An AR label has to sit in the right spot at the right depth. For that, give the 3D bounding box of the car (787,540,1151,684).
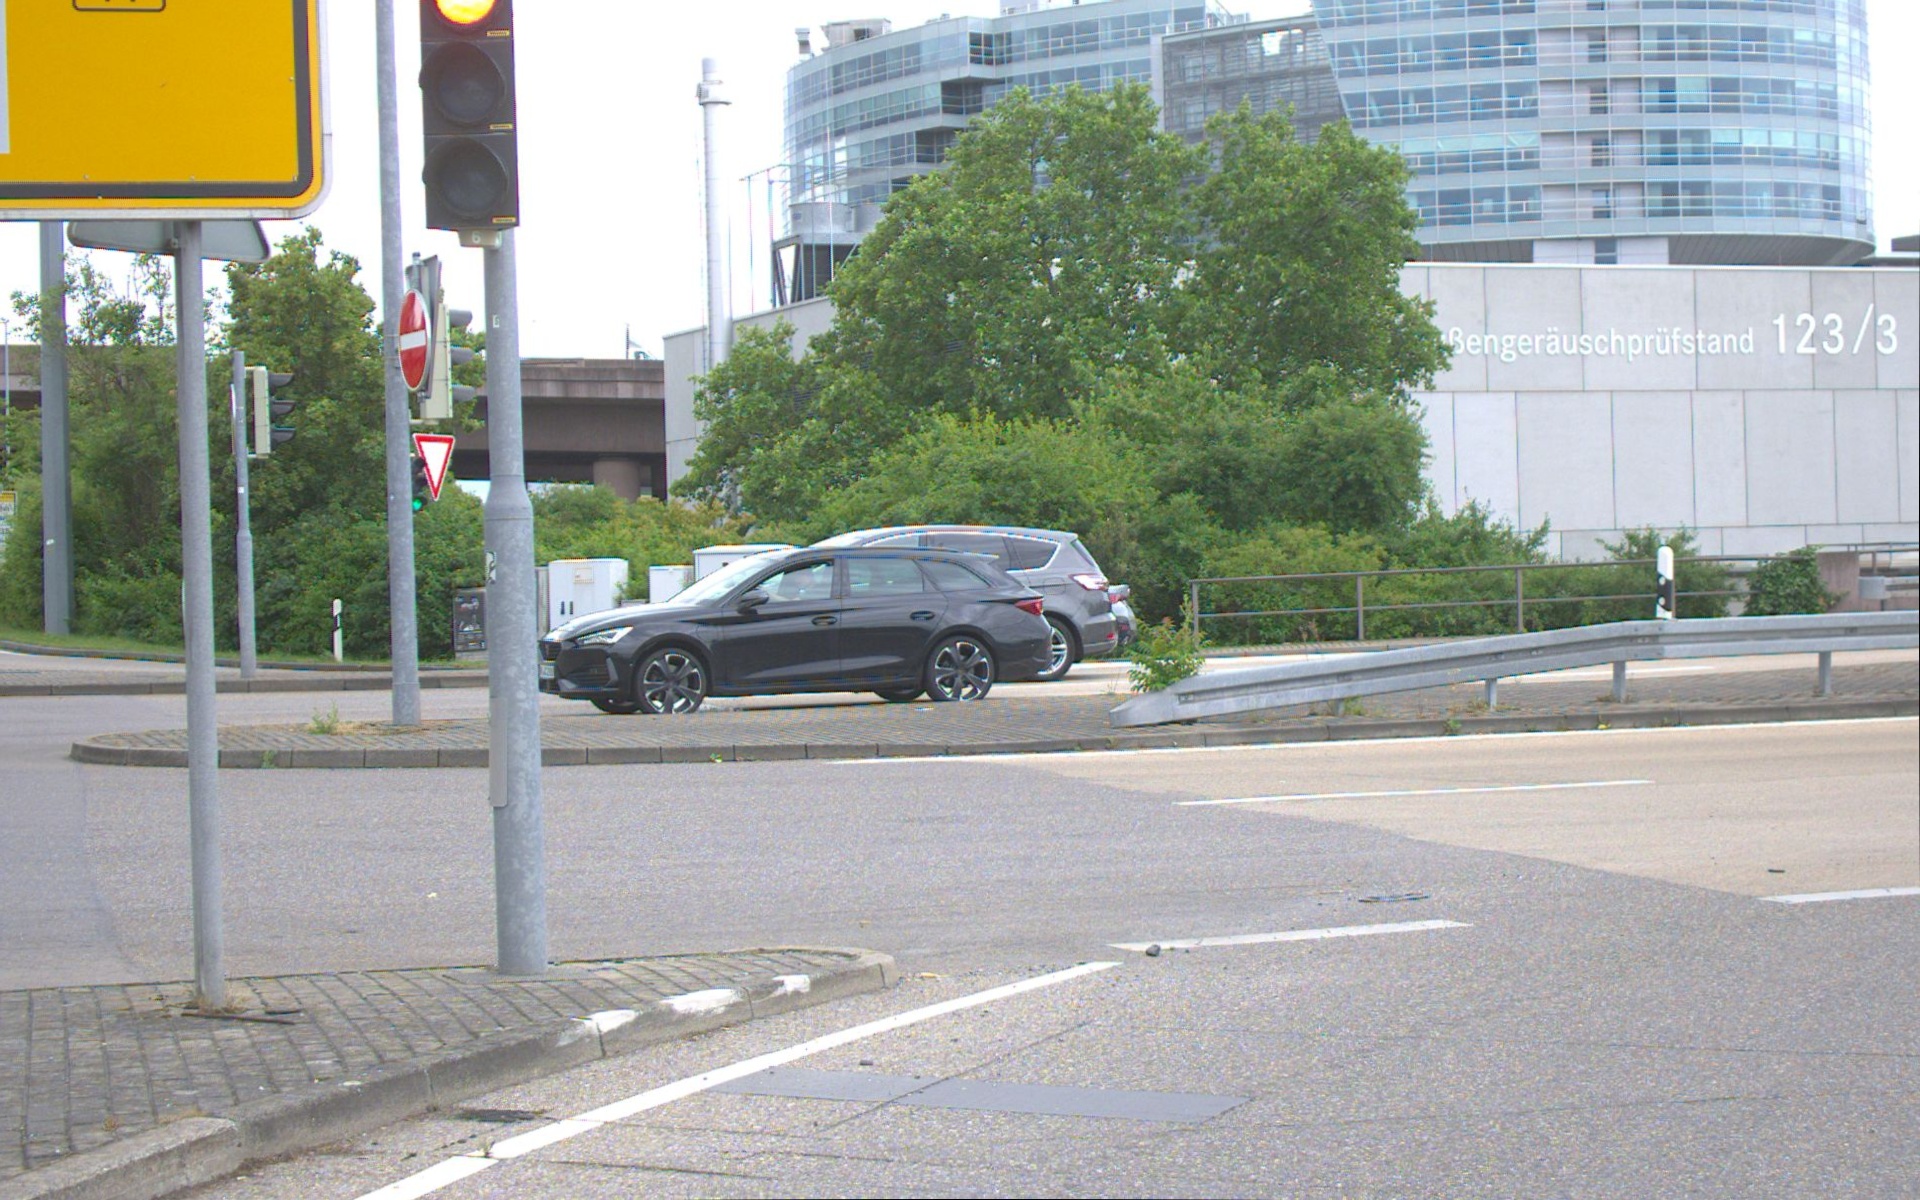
[{"bbox_3d":[0.146,0.142,46.313,4.732,1.656,1.915,3,1,2],"label":"car"}]

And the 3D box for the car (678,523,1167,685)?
[{"bbox_3d":[-0.401,0.001,35.598,4.677,1.566,1.956,-1,2,-19],"label":"car"}]

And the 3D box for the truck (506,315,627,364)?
[{"bbox_3d":[-18.824,-12.448,164.607,5.621,2.156,2.000,1,1,-2],"label":"truck"}]

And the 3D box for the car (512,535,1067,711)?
[{"bbox_3d":[-1.543,0.162,30.831,4.604,1.452,1.956,-1,2,-19],"label":"car"}]
